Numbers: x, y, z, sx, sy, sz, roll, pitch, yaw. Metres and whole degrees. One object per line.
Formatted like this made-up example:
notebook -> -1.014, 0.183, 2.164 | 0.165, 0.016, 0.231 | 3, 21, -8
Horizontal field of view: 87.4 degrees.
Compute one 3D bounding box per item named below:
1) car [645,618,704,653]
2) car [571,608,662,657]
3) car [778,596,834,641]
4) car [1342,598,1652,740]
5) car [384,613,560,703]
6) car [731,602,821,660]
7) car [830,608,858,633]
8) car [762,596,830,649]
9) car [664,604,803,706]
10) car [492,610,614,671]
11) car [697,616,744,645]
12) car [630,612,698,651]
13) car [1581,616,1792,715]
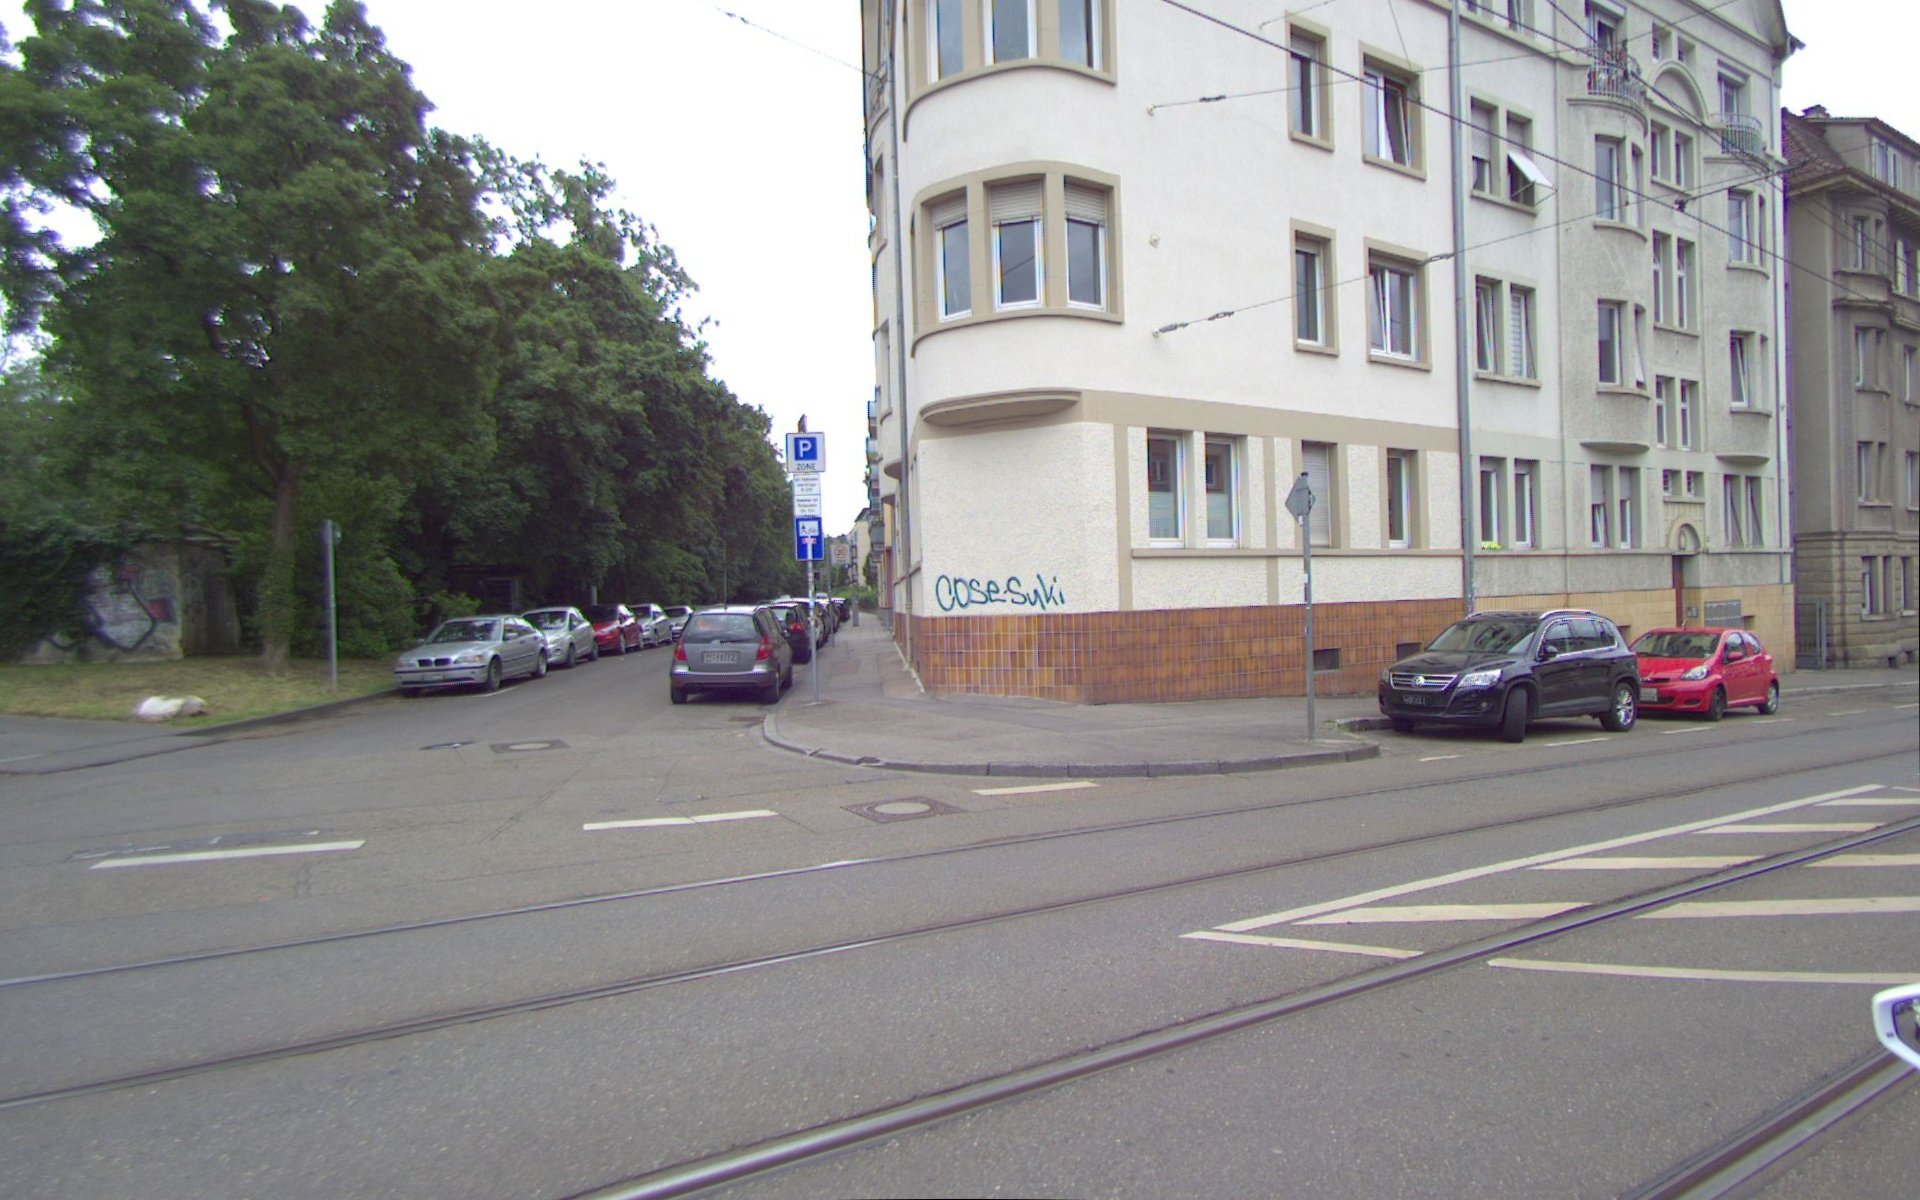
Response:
car -> -12.636, 1.547, 44.713 | 1.727, 1.438, 3.998 | 0, -1, -4
car -> -10.752, 0.988, 31.710 | 1.727, 1.438, 3.998 | 0, -1, -4
car -> -5.619, 0.684, 36.972 | 1.727, 1.564, 3.998 | 0, -1, -4
car -> 7.433, 0.895, 13.800 | 4.354, 1.667, 1.857 | 2, -2, -32
car -> -9.521, 1.058, 19.971 | 1.727, 1.459, 3.997 | -1, 1, -4
car -> -4.651, 0.765, 25.911 | 1.840, 1.372, 3.998 | 0, -1, -4
car -> -7.723, 1.365, 67.083 | 1.727, 1.564, 3.998 | 0, -1, -4
car -> -5.076, 0.691, 31.484 | 1.727, 1.564, 3.998 | 0, -1, -4
car -> -3.891, 0.900, 17.881 | 1.840, 1.592, 3.998 | 0, -1, -4
car -> -10.247, 0.979, 25.593 | 1.727, 1.438, 3.998 | 0, -1, -4
car -> -12.181, 1.534, 51.333 | 1.727, 1.438, 3.998 | 0, -1, -4
car -> -11.500, 1.186, 39.199 | 1.727, 1.438, 3.998 | 0, -1, -4
car -> 12.229, 1.058, 16.858 | 3.704, 1.482, 1.612 | 2, -2, -32
